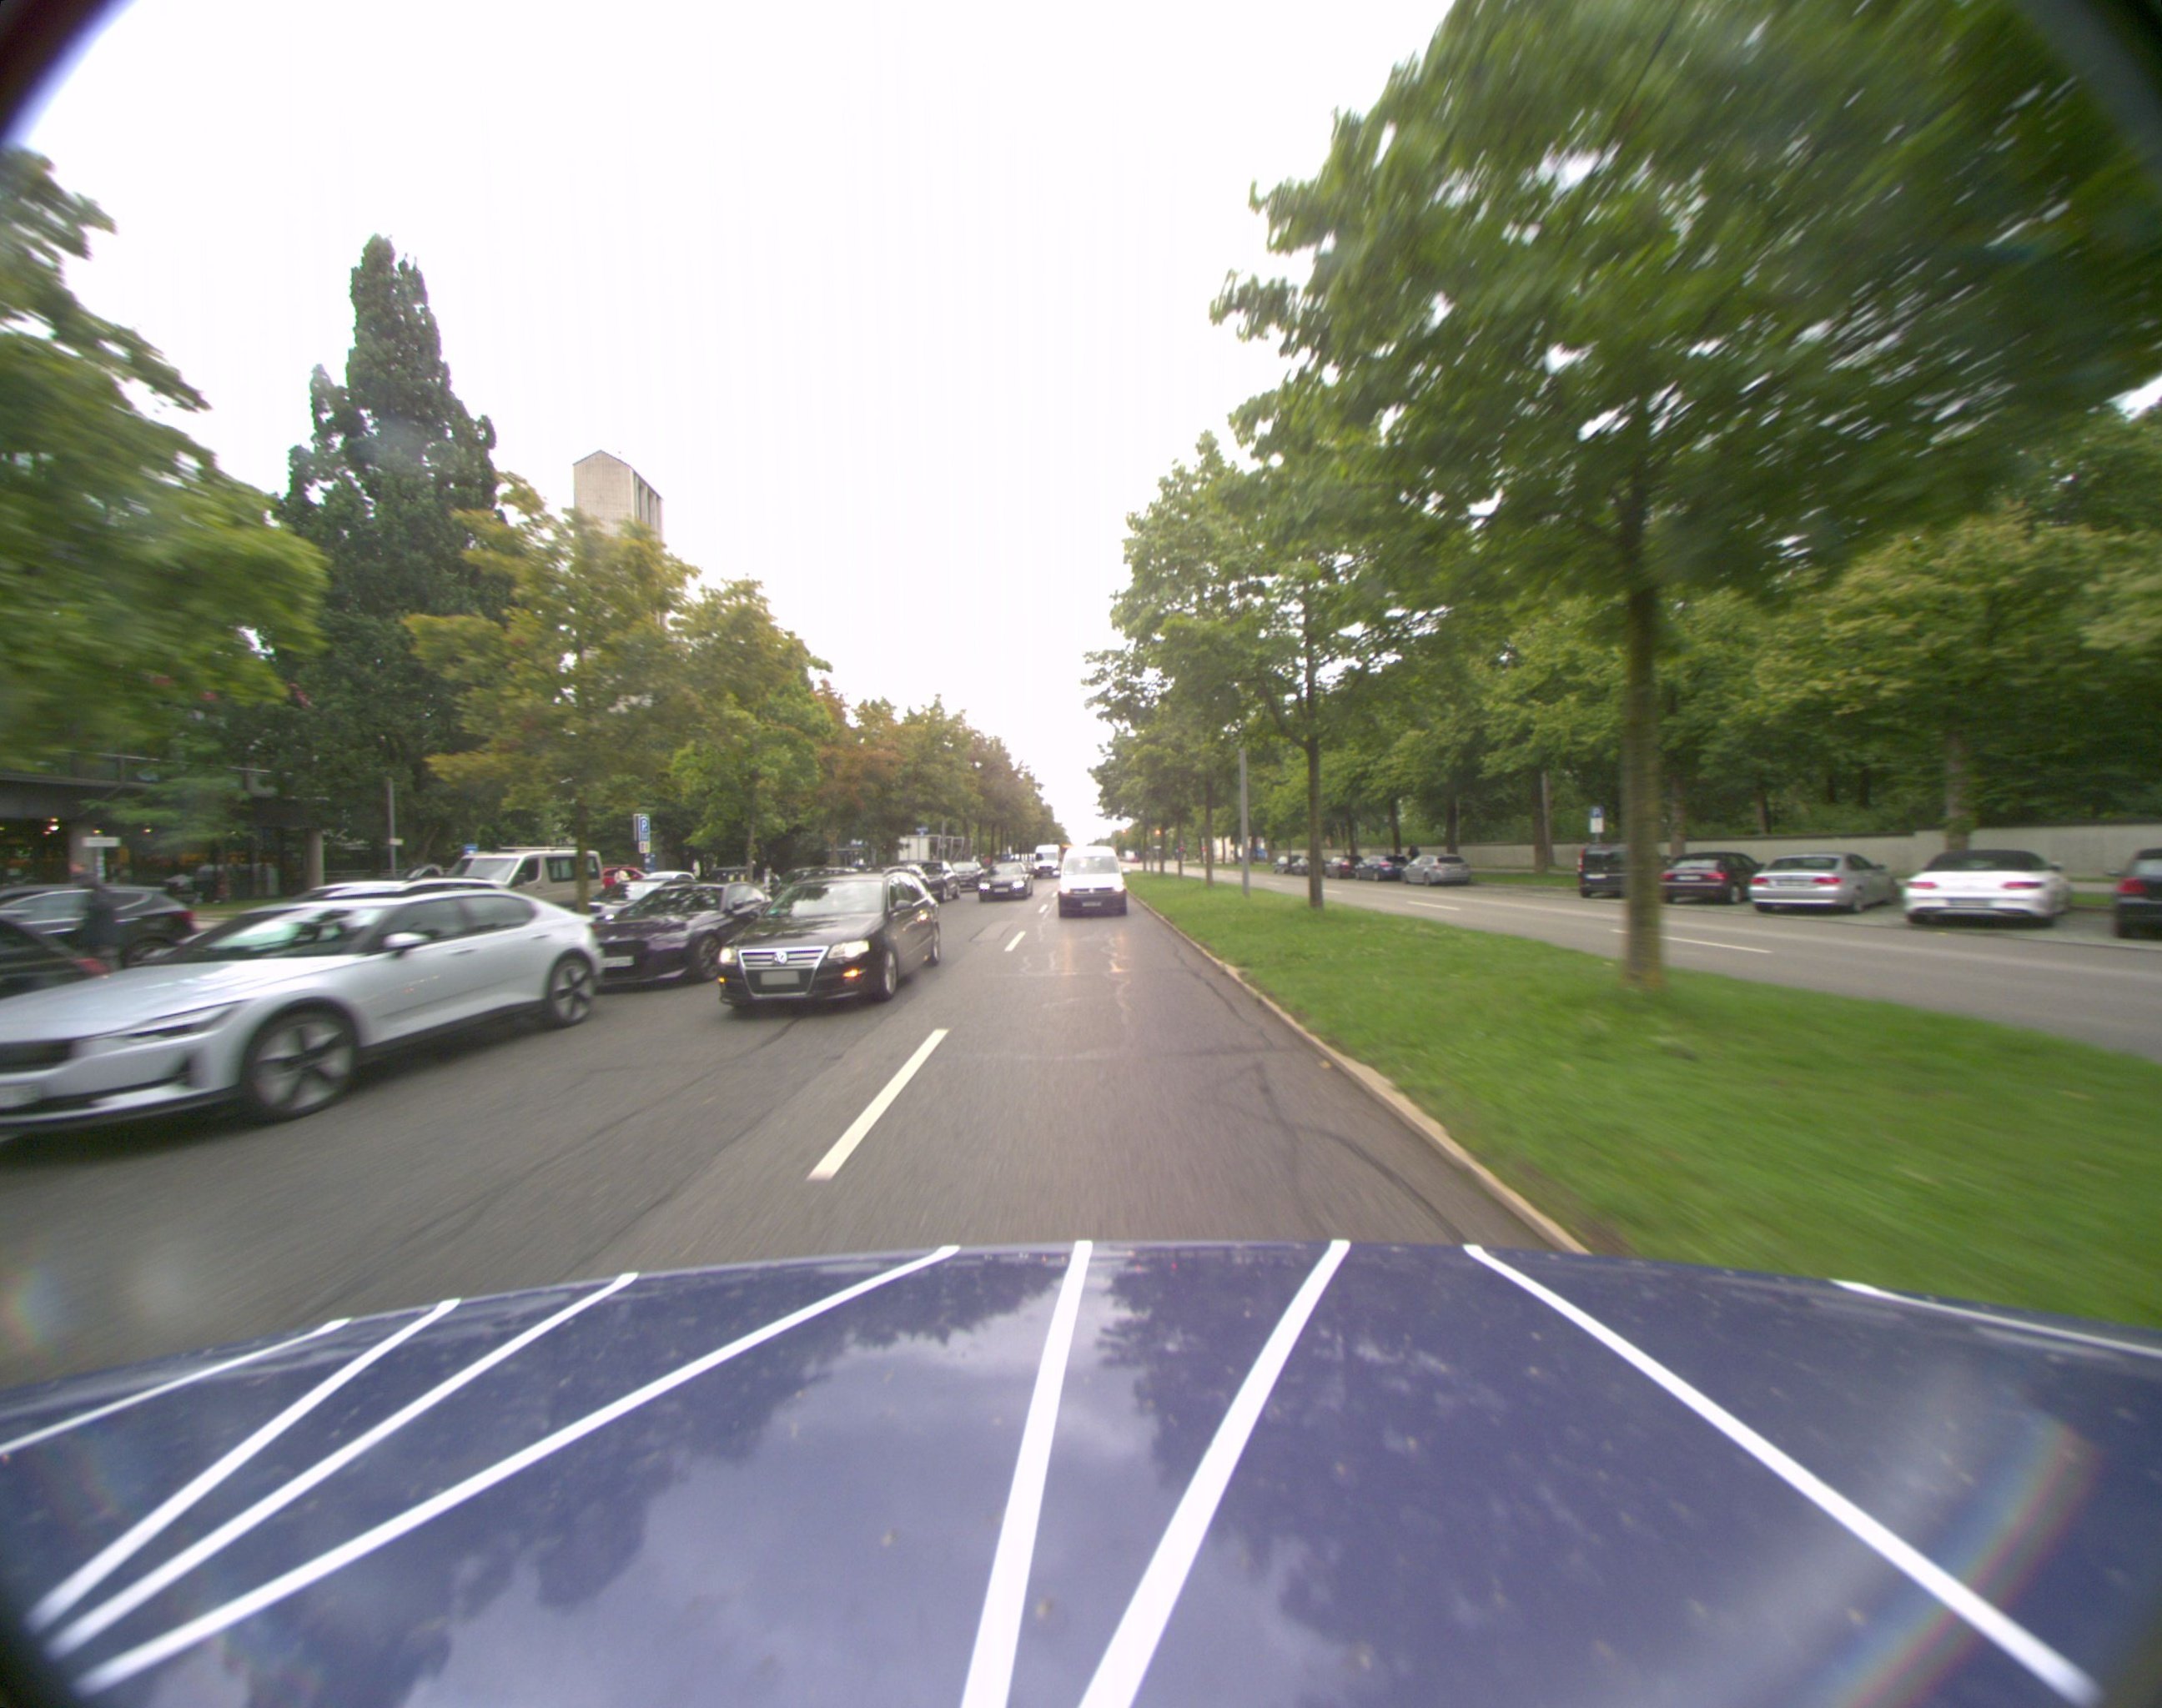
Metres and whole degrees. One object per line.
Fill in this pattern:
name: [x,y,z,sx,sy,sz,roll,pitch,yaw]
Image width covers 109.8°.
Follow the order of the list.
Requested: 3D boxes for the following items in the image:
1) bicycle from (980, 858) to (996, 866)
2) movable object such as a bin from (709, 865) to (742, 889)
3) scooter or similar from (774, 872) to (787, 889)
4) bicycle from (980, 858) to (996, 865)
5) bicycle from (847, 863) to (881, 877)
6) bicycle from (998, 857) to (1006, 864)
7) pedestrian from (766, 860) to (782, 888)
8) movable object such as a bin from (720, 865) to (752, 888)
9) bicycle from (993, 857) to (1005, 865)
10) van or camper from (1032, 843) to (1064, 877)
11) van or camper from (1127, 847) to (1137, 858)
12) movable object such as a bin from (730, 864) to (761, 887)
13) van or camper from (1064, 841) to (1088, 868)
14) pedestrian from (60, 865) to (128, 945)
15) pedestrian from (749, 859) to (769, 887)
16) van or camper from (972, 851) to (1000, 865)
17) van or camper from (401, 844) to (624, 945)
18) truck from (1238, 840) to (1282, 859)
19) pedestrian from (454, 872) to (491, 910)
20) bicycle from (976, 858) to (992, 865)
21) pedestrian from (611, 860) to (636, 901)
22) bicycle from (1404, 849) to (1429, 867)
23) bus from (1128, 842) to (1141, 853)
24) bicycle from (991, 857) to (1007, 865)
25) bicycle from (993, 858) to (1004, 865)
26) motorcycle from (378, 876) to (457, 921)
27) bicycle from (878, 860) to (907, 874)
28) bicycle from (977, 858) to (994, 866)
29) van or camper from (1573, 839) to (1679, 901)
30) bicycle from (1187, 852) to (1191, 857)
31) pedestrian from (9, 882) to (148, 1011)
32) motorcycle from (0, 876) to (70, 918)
bicycle: [-13.667,1.183,111.955,2.346,1.151,0.529,1,0,-8]
movable object such as a bin: [-21.429,1.389,45.849,1.339,1.401,1.314,-1,0,-1]
scooter or similar: [-18.779,1.665,47.480,0.501,1.012,0.833,1,1,0]
bicycle: [-14.505,1.150,118.472,2.344,1.151,0.585,1,0,0]
bicycle: [-17.910,1.354,62.775,2.548,1.082,0.647,-1,1,1]
bicycle: [-13.186,1.133,127.027,0.863,1.191,2.000,0,0,5]
pedestrian: [-18.788,1.210,46.525,0.540,1.711,0.987,1,1,1]
movable object such as a bin: [-21.435,1.387,47.199,1.339,1.401,1.314,-1,0,-1]
bicycle: [-13.426,1.140,124.175,1.946,1.205,0.567,0,1,-11]
van or camper: [-2.627,0.454,62.061,2.183,2.546,7.074,-1,0,1]
van or camper: [12.801,-0.445,192.362,2.183,2.631,6.951,0,0,1]
movable object such as a bin: [-21.434,1.385,48.547,1.339,1.401,1.314,-1,0,-1]
van or camper: [-0.562,0.015,96.368,2.780,3.219,7.074,-1,0,1]
pedestrian: [-22.135,1.121,17.052,0.733,1.741,0.575,-2,1,-34]
pedestrian: [-19.854,1.180,46.832,0.830,1.711,0.940,1,1,1]
van or camper: [-16.067,0.675,129.101,2.144,2.283,6.207,-1,0,18]
van or camper: [-16.366,1.027,22.461,1.998,2.543,5.956,-1,0,1]
truck: [34.995,-0.909,148.627,7.817,3.468,2.772,-1,0,2]
pedestrian: [-21.511,1.289,26.886,0.733,1.283,0.698,1,1,5]
bicycle: [-15.052,1.158,117.827,2.344,1.151,0.585,1,0,0]
pedestrian: [-19.947,1.163,33.154,0.576,1.741,0.732,-1,1,5]
bicycle: [22.763,0.253,51.588,0.715,1.154,2.116,-1,0,1]
bus: [15.635,-1.824,224.066,2.752,3.324,12.047,0,0,-1]
bicycle: [-12.645,1.108,117.419,2.344,1.151,0.585,1,0,0]
bicycle: [-13.586,1.215,125.424,1.812,1.065,0.567,0,1,-11]
motorcycle: [-21.519,1.416,24.692,0.697,1.283,2.066,3,0,1]
bicycle: [-18.065,1.232,72.831,2.548,1.273,0.647,-1,1,1]
bicycle: [-13.915,1.196,111.044,2.344,1.151,0.529,1,0,0]
van or camper: [17.975,0.462,25.009,4.133,1.844,1.845,-2,0,-40]
bicycle: [24.415,0.177,171.690,0.546,1.174,1.826,-2,0,0]
pedestrian: [-15.167,1.365,11.526,0.877,1.840,0.903,0,0,-1]
motorcycle: [-33.828,1.355,23.971,0.871,1.222,2.377,0,0,-6]
